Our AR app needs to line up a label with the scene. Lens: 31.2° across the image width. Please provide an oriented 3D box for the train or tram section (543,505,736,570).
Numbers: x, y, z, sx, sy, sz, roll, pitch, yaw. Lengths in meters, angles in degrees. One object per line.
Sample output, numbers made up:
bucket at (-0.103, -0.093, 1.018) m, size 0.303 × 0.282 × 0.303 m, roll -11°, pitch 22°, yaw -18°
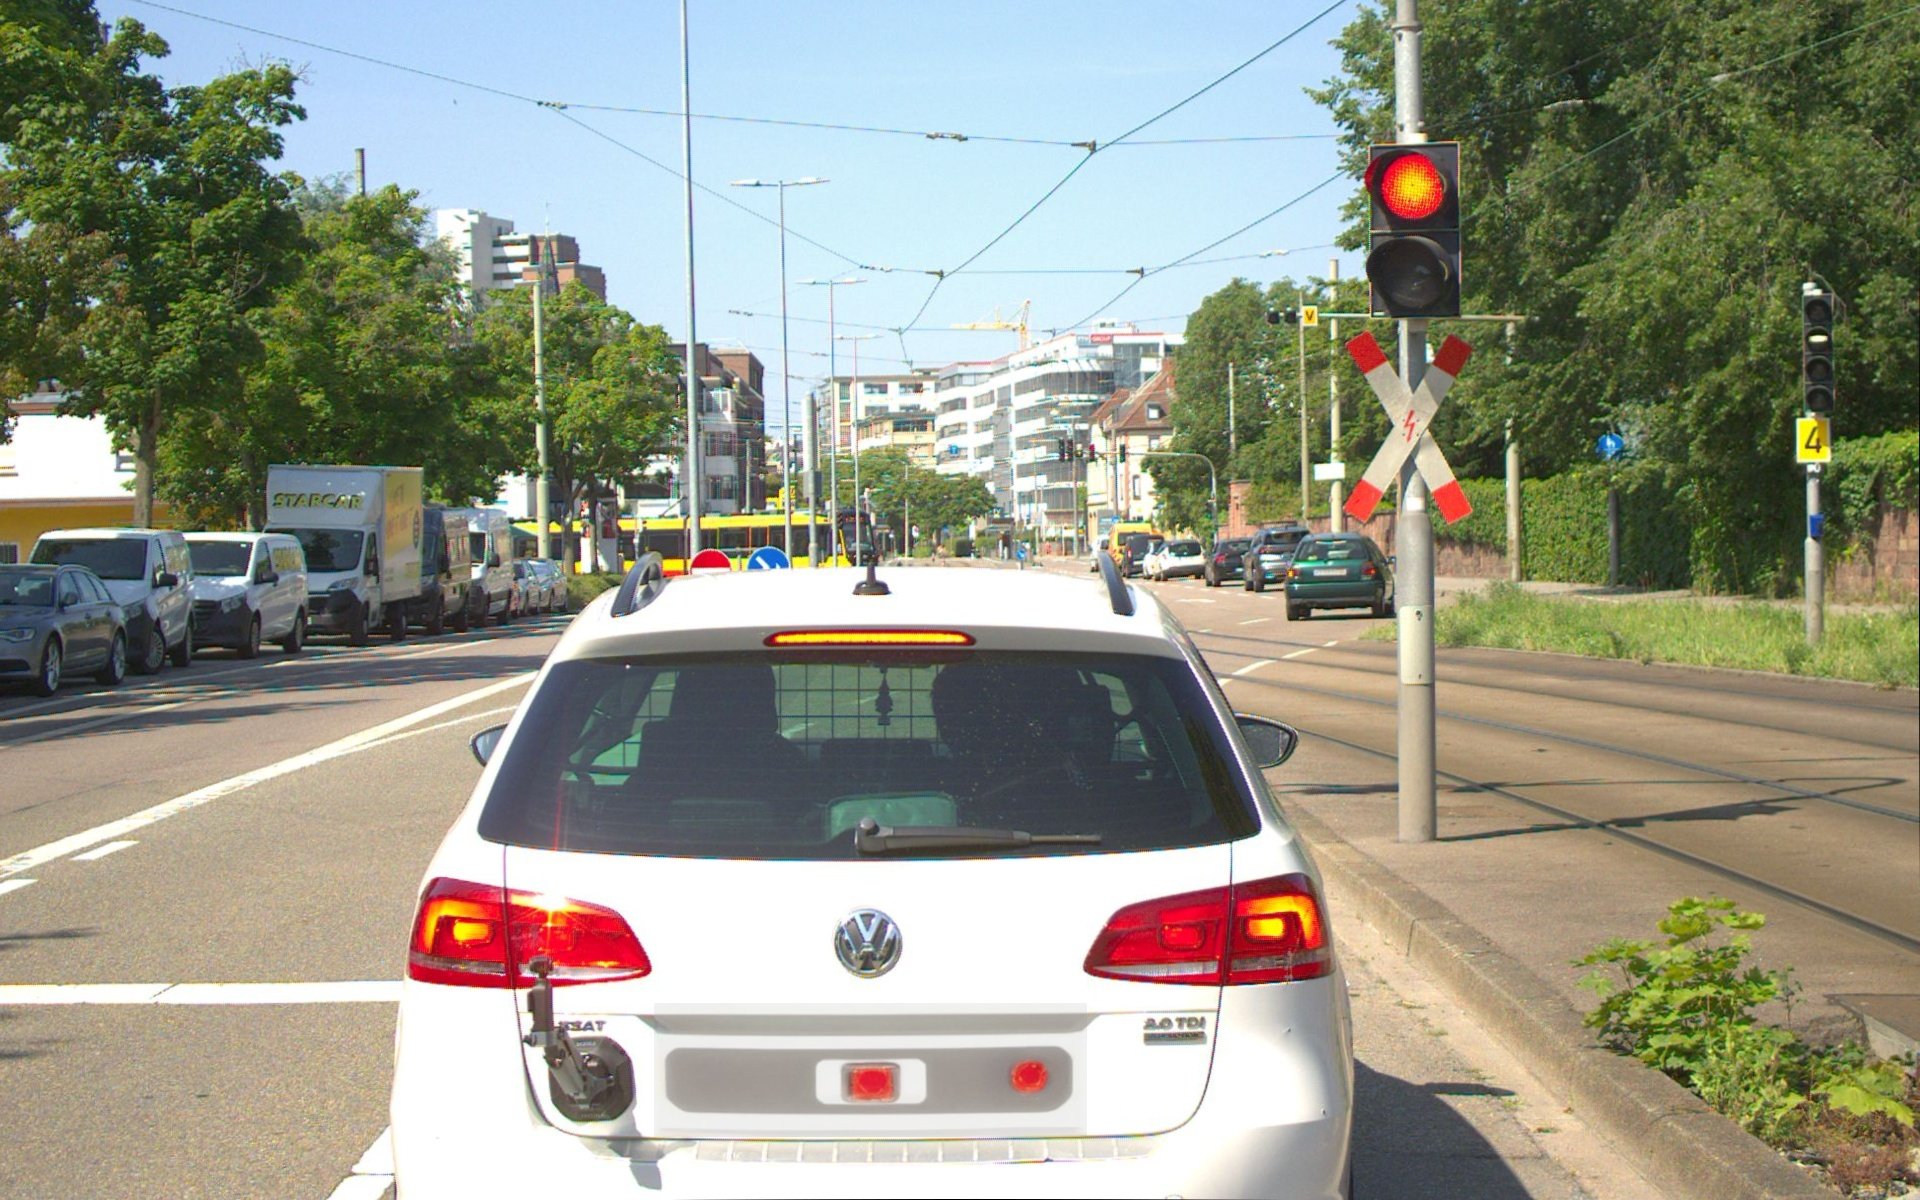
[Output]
train or tram section at (-16.606, -3.235, 177.601) m, size 10.792 × 3.241 × 2.304 m, roll 1°, pitch 0°, yaw 33°

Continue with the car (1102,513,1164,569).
car at (8.043, -2.717, 160.111) m, size 2.463 × 2.490 × 5.910 m, roll 1°, pitch 0°, yaw -1°

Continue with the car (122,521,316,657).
car at (-11.365, -0.220, 53.094) m, size 1.843 × 1.954 × 5.134 m, roll -1°, pitch 1°, yaw 0°

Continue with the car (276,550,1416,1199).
car at (-0.228, 0.641, 7.334) m, size 1.768 × 1.441 × 3.913 m, roll 1°, pitch 1°, yaw -1°

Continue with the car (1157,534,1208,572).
car at (8.135, -1.700, 125.881) m, size 1.581 × 1.341 × 3.454 m, roll 1°, pitch 0°, yaw -1°

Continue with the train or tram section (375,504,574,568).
train or tram section at (-25.871, -3.425, 182.868) m, size 10.998 × 3.241 × 2.305 m, roll 1°, pitch 0°, yaw 26°

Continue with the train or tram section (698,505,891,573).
train or tram section at (-8.326, -3.051, 171.088) m, size 11.266 × 3.241 × 2.303 m, roll 1°, pitch 1°, yaw 43°

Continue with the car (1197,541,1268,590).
car at (8.166, -1.046, 103.256) m, size 1.746 × 1.403 × 3.913 m, roll 1°, pitch 1°, yaw -1°

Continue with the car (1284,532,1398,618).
car at (6.426, -0.445, 57.733) m, size 1.746 × 1.383 × 3.912 m, roll 1°, pitch 1°, yaw 8°

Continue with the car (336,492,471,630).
car at (-11.188, -0.812, 69.420) m, size 1.843 × 2.659 × 5.003 m, roll -1°, pitch 1°, yaw 0°

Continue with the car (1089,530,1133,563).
car at (7.613, -2.686, 173.771) m, size 1.993 × 1.590 × 4.000 m, roll 1°, pitch 0°, yaw 0°

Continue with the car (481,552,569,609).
car at (-11.683, -0.535, 92.538) m, size 1.843 × 1.428 × 4.038 m, roll -1°, pitch 1°, yaw -1°

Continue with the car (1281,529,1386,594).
car at (8.464, -0.898, 78.205) m, size 1.861 × 1.412 × 4.325 m, roll 1°, pitch 1°, yaw -1°

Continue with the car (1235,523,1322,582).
car at (8.353, -1.262, 90.524) m, size 1.861 × 1.508 × 3.913 m, roll 1°, pitch 1°, yaw -1°

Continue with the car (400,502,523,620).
car at (-11.118, -0.896, 76.986) m, size 1.843 × 2.486 × 5.857 m, roll -1°, pitch 1°, yaw 0°

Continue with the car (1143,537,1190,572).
car at (8.168, -1.781, 136.276) m, size 1.581 × 1.341 × 3.454 m, roll 1°, pitch 0°, yaw -1°

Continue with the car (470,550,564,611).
car at (-11.128, -0.500, 86.574) m, size 1.843 × 1.428 × 4.038 m, roll -1°, pitch 1°, yaw -1°

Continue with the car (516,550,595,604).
car at (-11.474, -0.660, 97.717) m, size 1.780 × 1.428 × 4.038 m, roll -1°, pitch 1°, yaw -1°

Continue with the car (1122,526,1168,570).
car at (7.765, -2.167, 144.389) m, size 1.691 × 1.806 × 3.454 m, roll 1°, pitch 0°, yaw -1°

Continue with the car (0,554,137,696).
car at (-10.942, 0.265, 39.737) m, size 1.843 × 1.511 × 4.197 m, roll -1°, pitch 1°, yaw -1°

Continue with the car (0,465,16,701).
car at (-11.224, -0.138, 33.542) m, size 2.059 × 2.492 × 6.307 m, roll 1°, pitch 1°, yaw 2°

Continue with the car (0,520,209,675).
car at (-11.461, -0.085, 46.378) m, size 1.843 × 1.930 × 5.195 m, roll -2°, pitch 1°, yaw -4°

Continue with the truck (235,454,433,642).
truck at (-11.098, -0.952, 61.488) m, size 2.356 × 3.112 × 6.892 m, roll -1°, pitch 1°, yaw -1°
